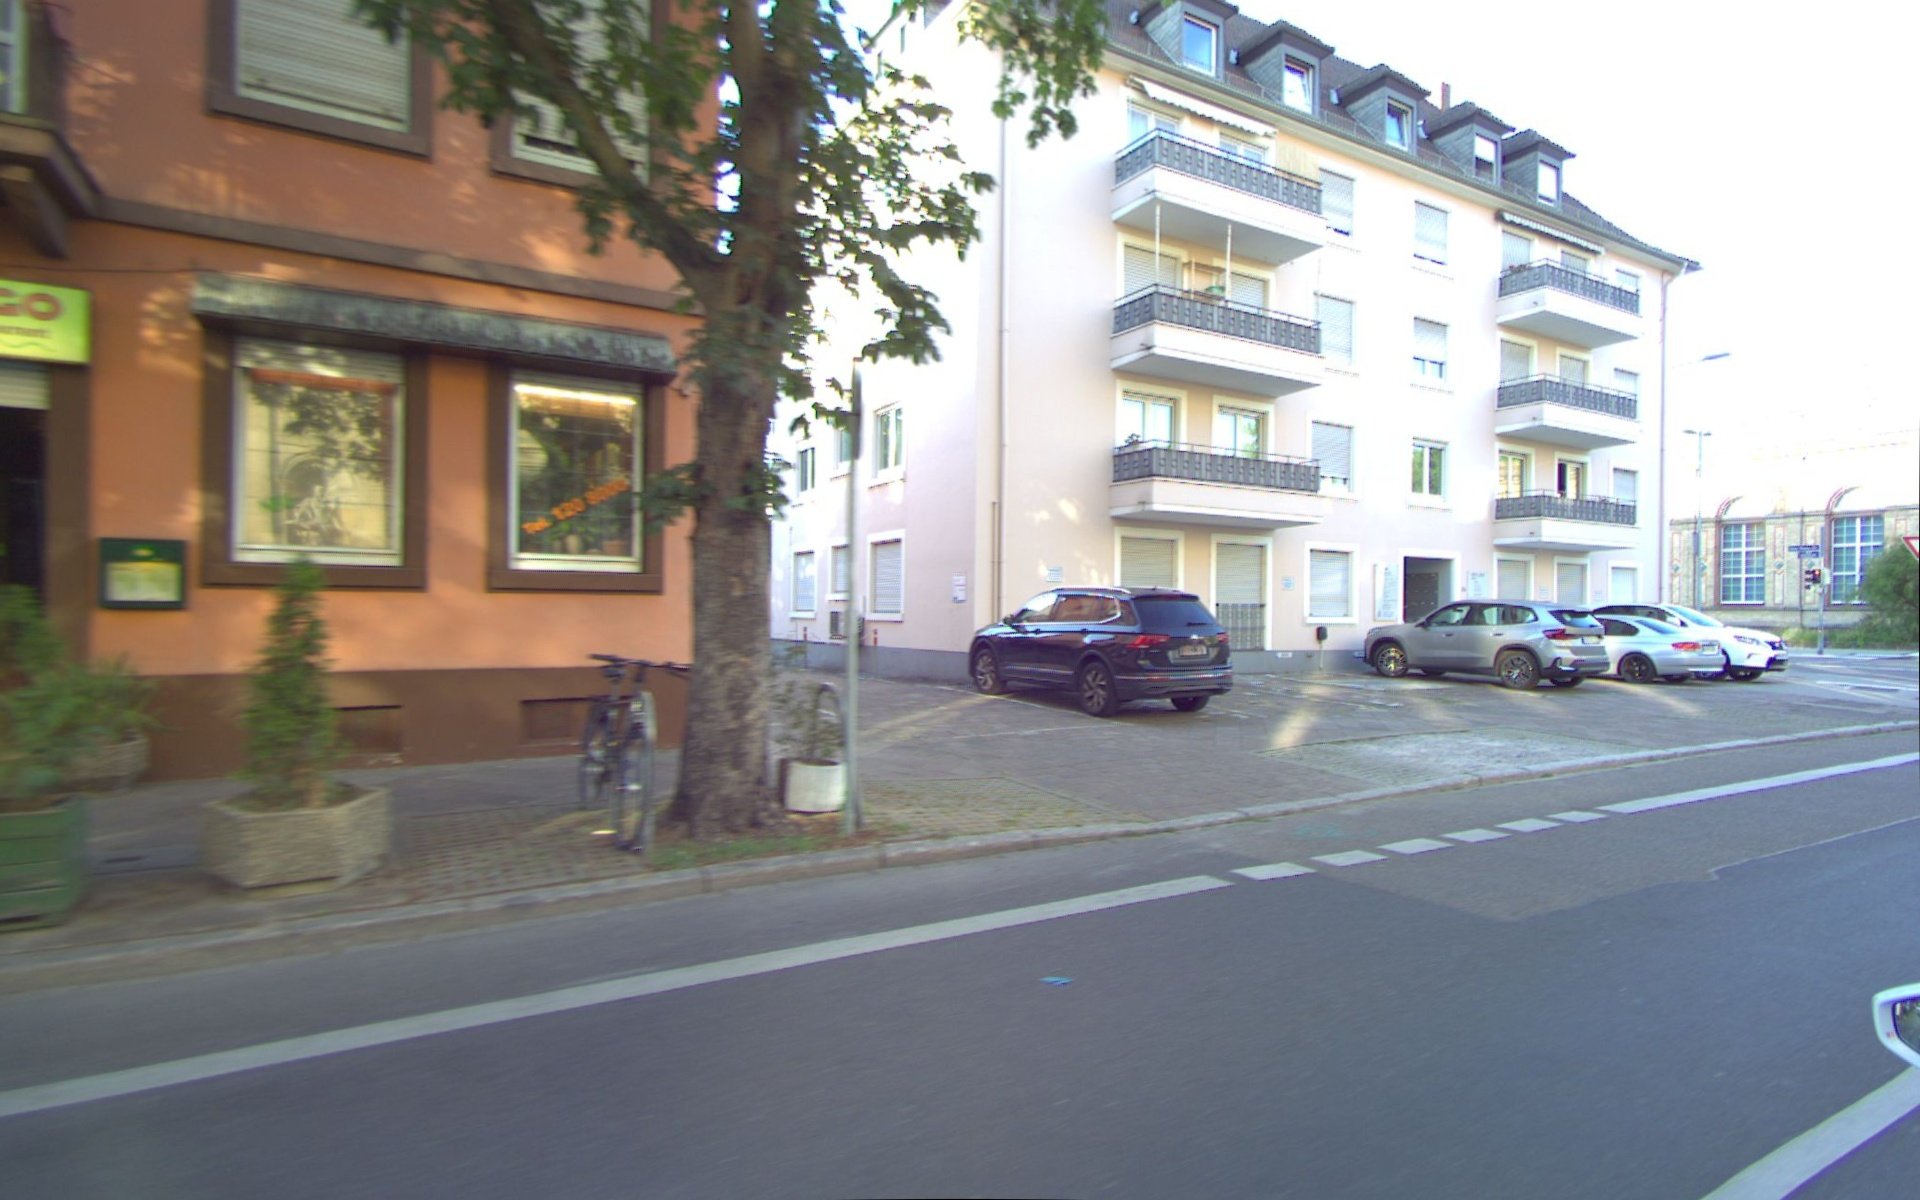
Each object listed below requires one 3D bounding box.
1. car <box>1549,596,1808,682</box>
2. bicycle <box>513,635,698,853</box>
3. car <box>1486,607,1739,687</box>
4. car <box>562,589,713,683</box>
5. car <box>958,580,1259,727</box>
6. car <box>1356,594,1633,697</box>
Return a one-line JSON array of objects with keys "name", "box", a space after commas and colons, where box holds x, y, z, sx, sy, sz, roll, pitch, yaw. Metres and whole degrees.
[{"name": "car", "box": [16.304, 0.804, 23.037, 1.920, 1.663, 4.417, 1, 2, -31]}, {"name": "bicycle", "box": [-2.312, 0.819, 6.406, 0.604, 1.119, 1.853, 1, 0, -36]}, {"name": "car", "box": [13.942, 0.928, 21.733, 1.716, 1.399, 4.244, 1, 2, -31]}, {"name": "car", "box": [-6.182, 0.608, 19.007, 1.865, 1.576, 3.778, 1, 0, -32]}, {"name": "car", "box": [1.894, 0.603, 14.258, 1.843, 1.688, 4.395, 1, 2, -31]}, {"name": "car", "box": [10.191, 0.774, 19.514, 1.894, 1.627, 4.395, 1, 2, -31]}]
